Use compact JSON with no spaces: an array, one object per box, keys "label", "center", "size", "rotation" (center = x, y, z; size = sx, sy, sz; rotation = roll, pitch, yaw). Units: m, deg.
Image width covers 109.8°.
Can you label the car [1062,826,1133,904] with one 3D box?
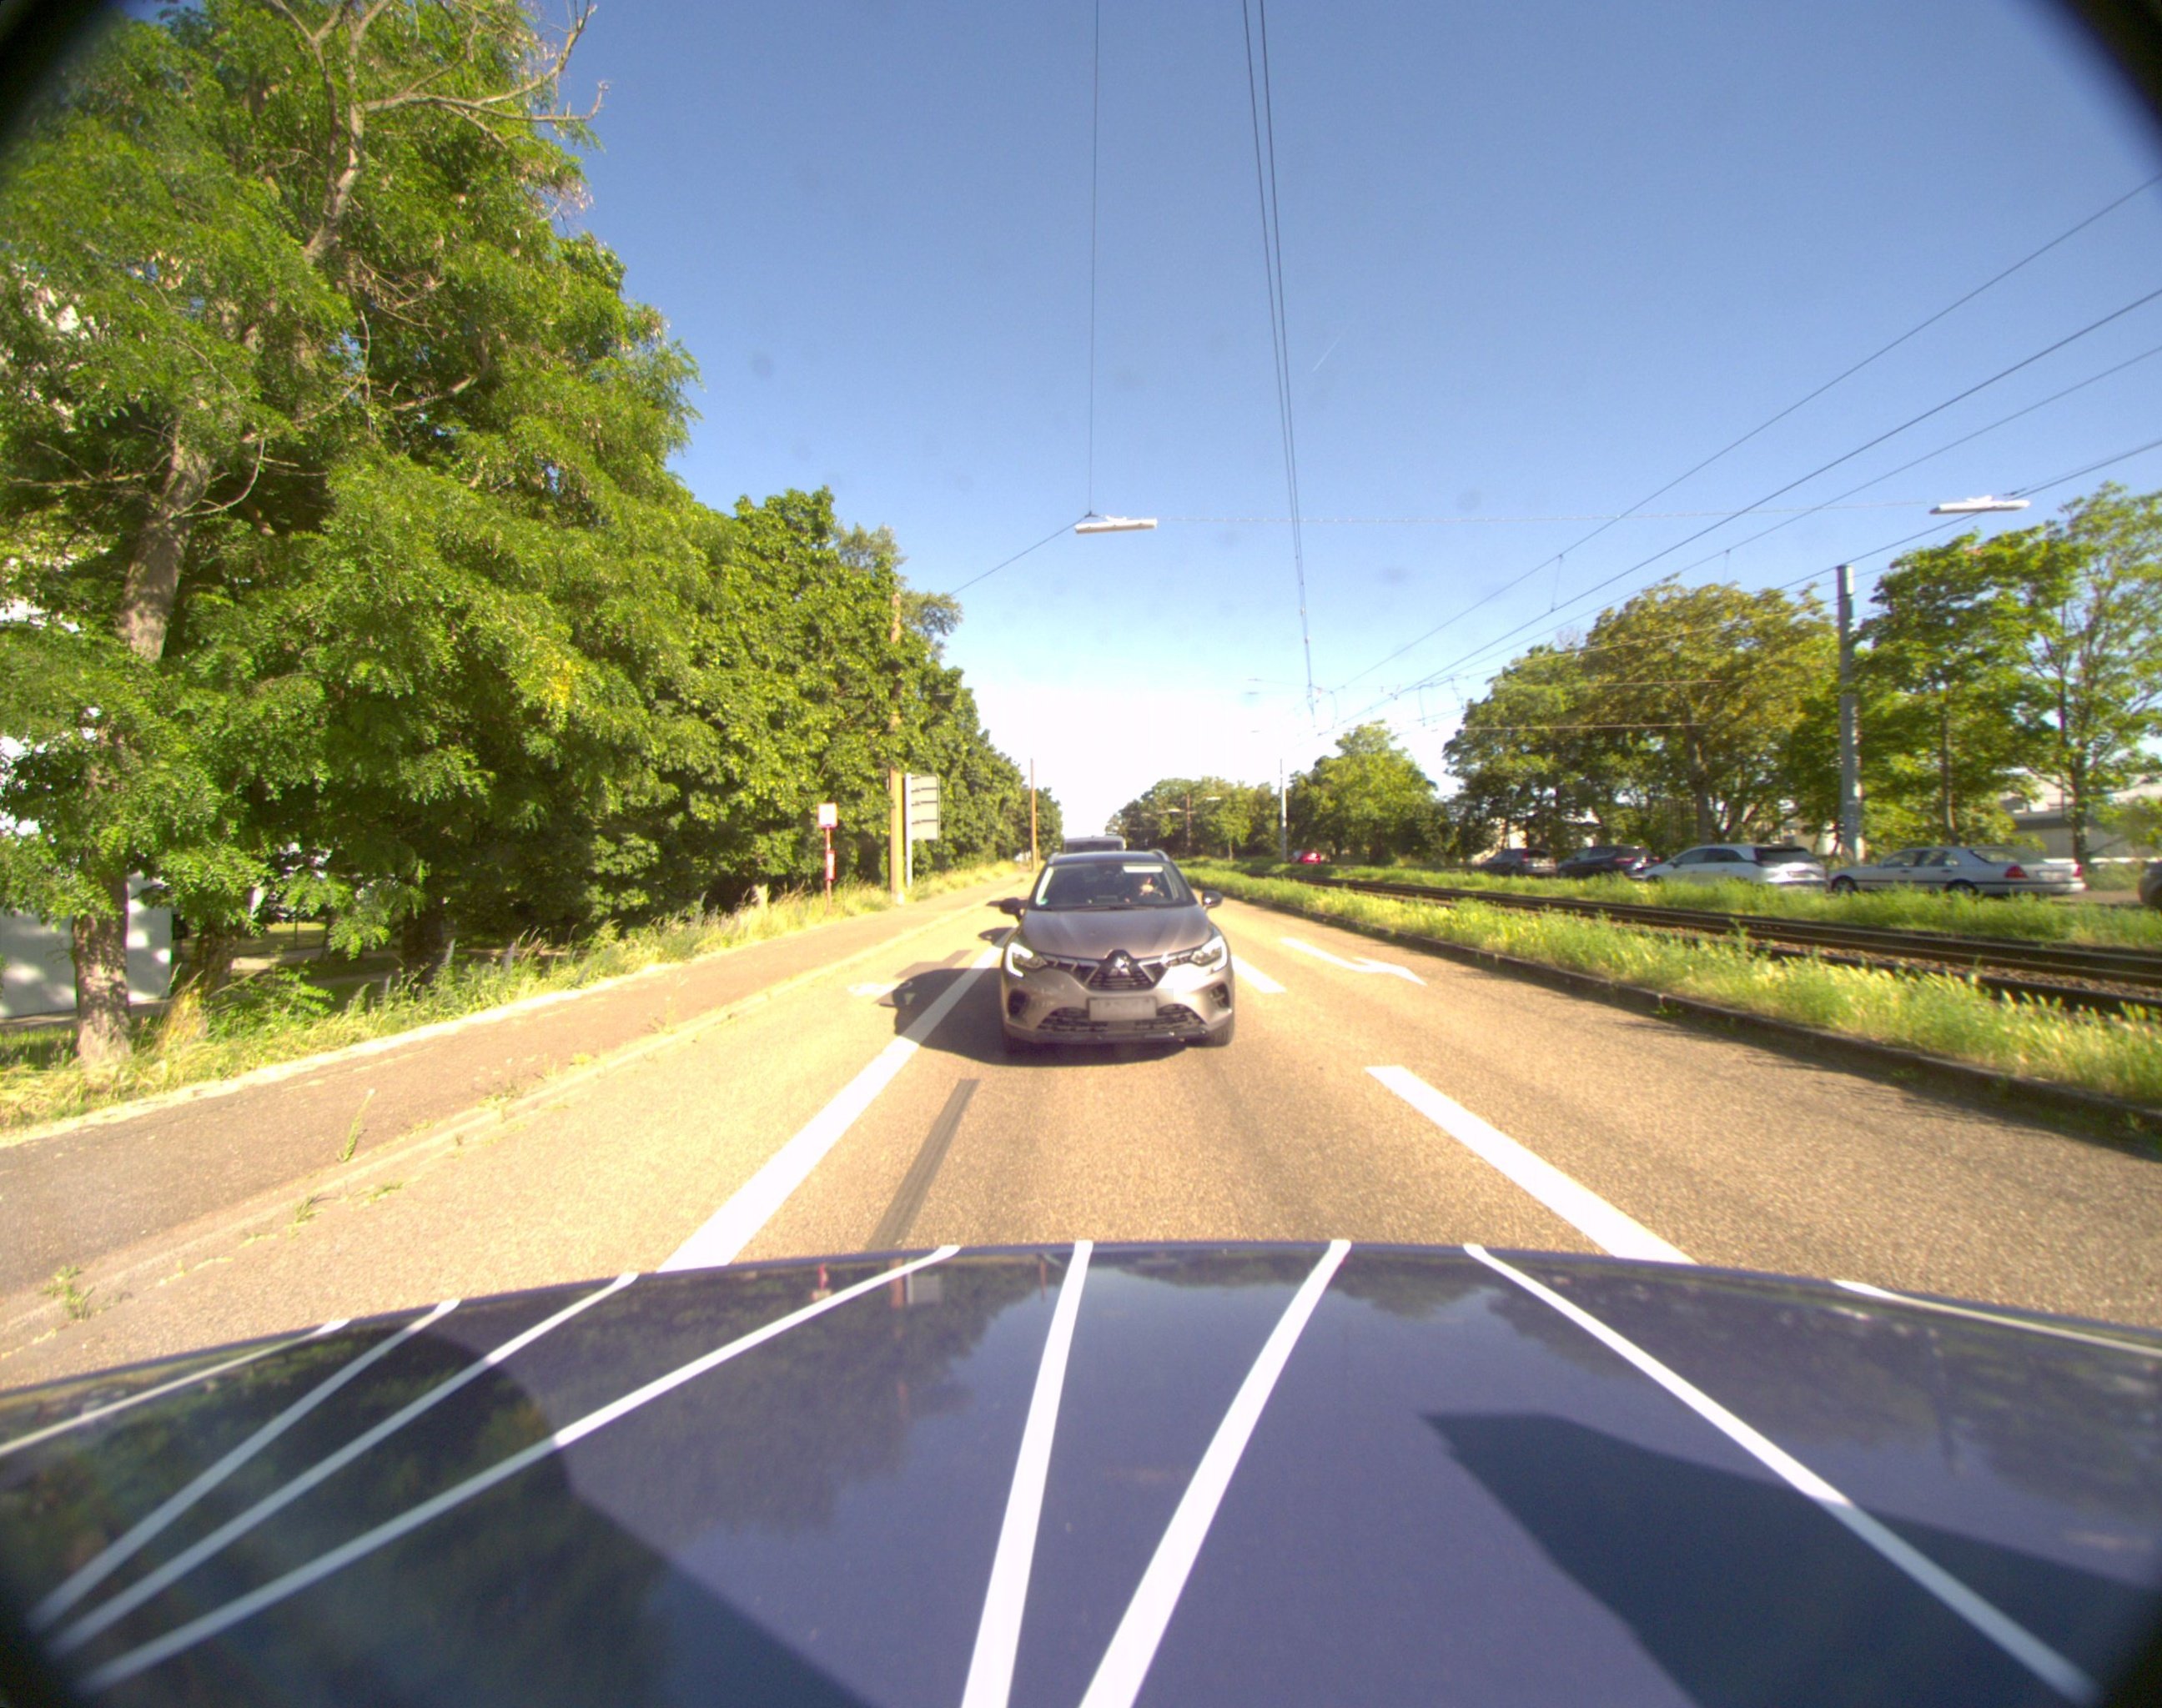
[{"label":"car","center":[0.414,0.342,24.070],"size":[1.999,2.198,4.786],"rotation":[-1,-1,-1]}]

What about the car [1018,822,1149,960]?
[{"label":"car","center":[0.066,0.593,13.998],"size":[1.998,2.113,4.000],"rotation":[-2,0,1]}]

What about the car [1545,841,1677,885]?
[{"label":"car","center":[21.299,0.339,30.835],"size":[2.130,1.578,4.616],"rotation":[-2,0,1]}]

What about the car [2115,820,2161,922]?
[{"label":"car","center":[21.284,0.279,12.502],"size":[2.207,1.923,4.685],"rotation":[-2,0,2]}]

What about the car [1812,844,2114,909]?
[{"label":"car","center":[21.539,0.503,18.944],"size":[2.130,1.372,4.616],"rotation":[-2,0,-1]}]

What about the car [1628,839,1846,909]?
[{"label":"car","center":[16.596,0.476,19.547],"size":[1.860,1.548,4.155],"rotation":[-2,0,-3]}]

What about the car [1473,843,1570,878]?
[{"label":"car","center":[21.557,0.323,37.417],"size":[2.130,1.554,4.560],"rotation":[-2,0,0]}]

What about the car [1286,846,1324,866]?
[{"label":"car","center":[20.991,0.181,71.476],"size":[2.321,1.723,4.798],"rotation":[-2,0,3]}]

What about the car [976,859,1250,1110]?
[{"label":"car","center":[0.174,0.881,7.326],"size":[1.796,1.583,4.529],"rotation":[-1,0,-1]}]
